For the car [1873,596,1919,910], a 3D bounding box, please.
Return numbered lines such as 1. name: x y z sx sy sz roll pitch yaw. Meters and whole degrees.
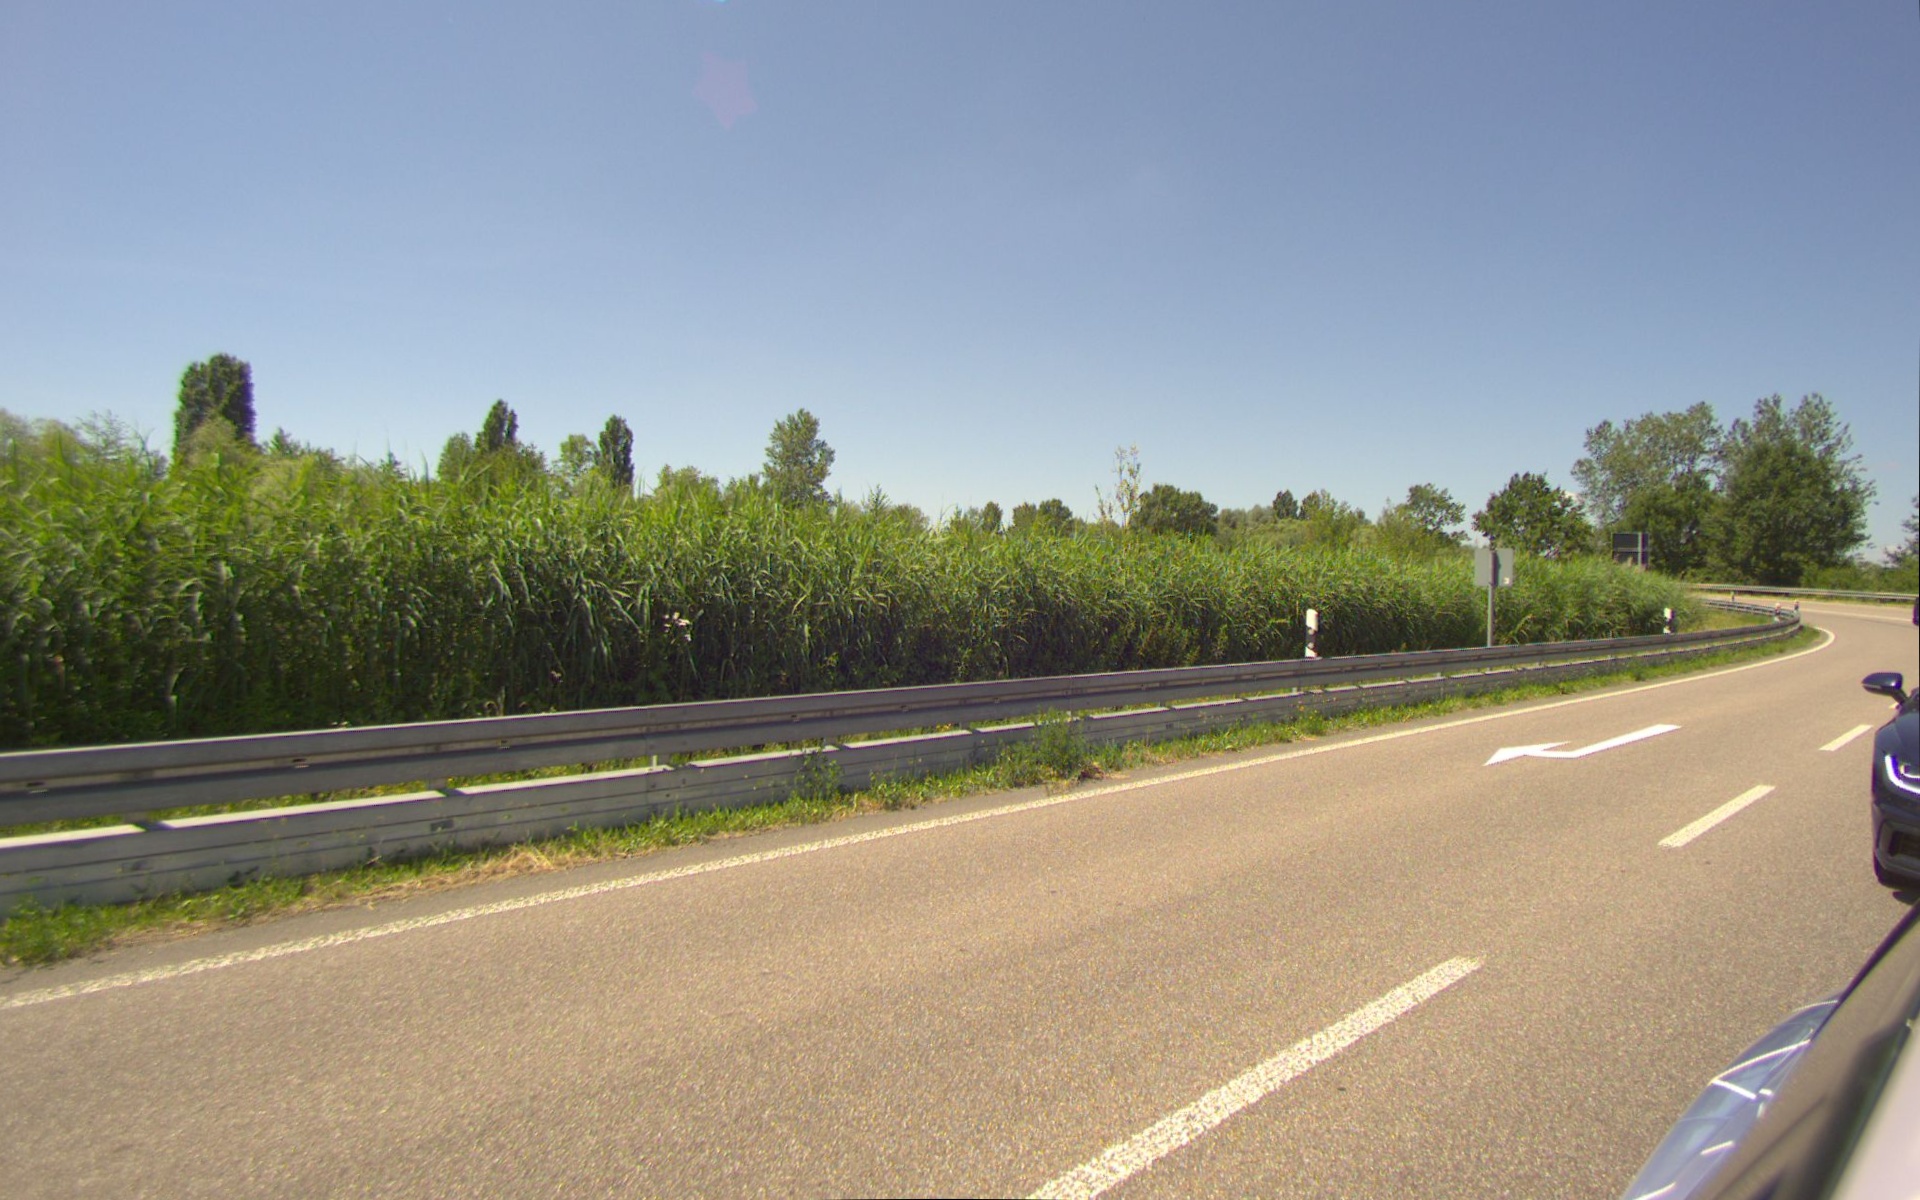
1. car: 6.336 0.694 5.389 3.931 1.427 1.759 -1 1 -41
